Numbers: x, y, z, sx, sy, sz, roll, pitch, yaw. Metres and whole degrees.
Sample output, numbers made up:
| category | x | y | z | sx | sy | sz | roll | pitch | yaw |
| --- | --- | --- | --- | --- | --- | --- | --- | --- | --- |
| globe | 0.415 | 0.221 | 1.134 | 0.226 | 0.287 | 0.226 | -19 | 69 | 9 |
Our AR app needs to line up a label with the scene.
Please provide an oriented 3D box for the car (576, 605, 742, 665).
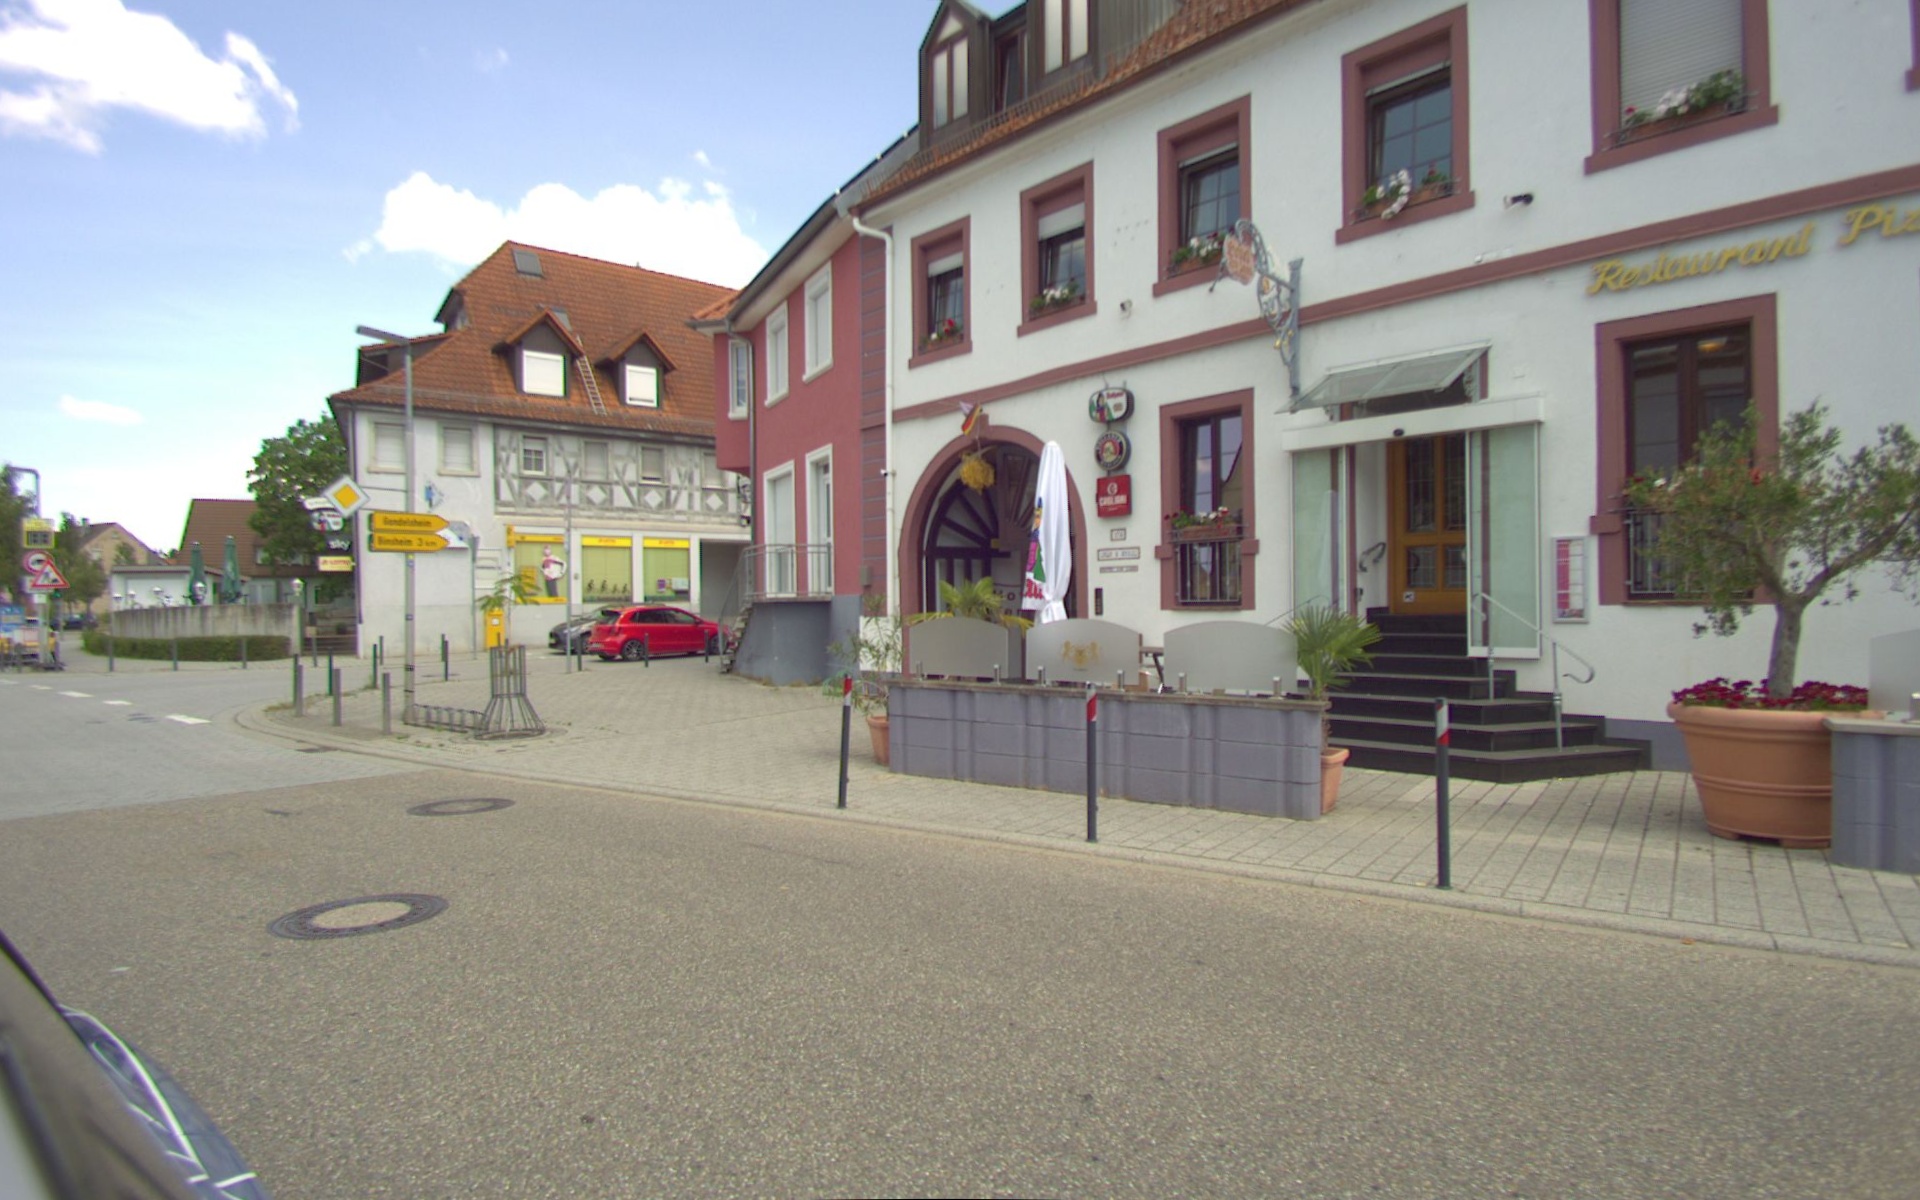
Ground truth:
| category | x | y | z | sx | sy | sz | roll | pitch | yaw |
| --- | --- | --- | --- | --- | --- | --- | --- | --- | --- |
| car | -7.955 | 0.864 | 26.915 | 3.829 | 1.422 | 1.785 | -1 | 0 | -43 |

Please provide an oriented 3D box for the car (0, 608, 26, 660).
| category | x | y | z | sx | sy | sz | roll | pitch | yaw |
| --- | --- | --- | --- | --- | --- | --- | --- | --- | --- |
| car | -39.059 | 1.373 | 40.798 | 1.962 | 2.005 | 5.050 | -1 | 0 | -42 |

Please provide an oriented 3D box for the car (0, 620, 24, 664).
| category | x | y | z | sx | sy | sz | roll | pitch | yaw |
| --- | --- | --- | --- | --- | --- | --- | --- | --- | --- |
| car | -33.721 | 1.443 | 35.022 | 1.795 | 1.434 | 4.540 | -1 | 0 | -45 |

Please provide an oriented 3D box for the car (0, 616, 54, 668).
| category | x | y | z | sx | sy | sz | roll | pitch | yaw |
| --- | --- | --- | --- | --- | --- | --- | --- | --- | --- |
| car | -29.084 | 1.245 | 30.952 | 3.962 | 1.486 | 1.650 | -1 | -1 | 42 |

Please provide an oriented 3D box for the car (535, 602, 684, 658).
| category | x | y | z | sx | sy | sz | roll | pitch | yaw |
| --- | --- | --- | --- | --- | --- | --- | --- | --- | --- |
| car | -10.651 | 0.878 | 30.857 | 3.891 | 1.529 | 1.776 | -1 | 0 | -40 |
